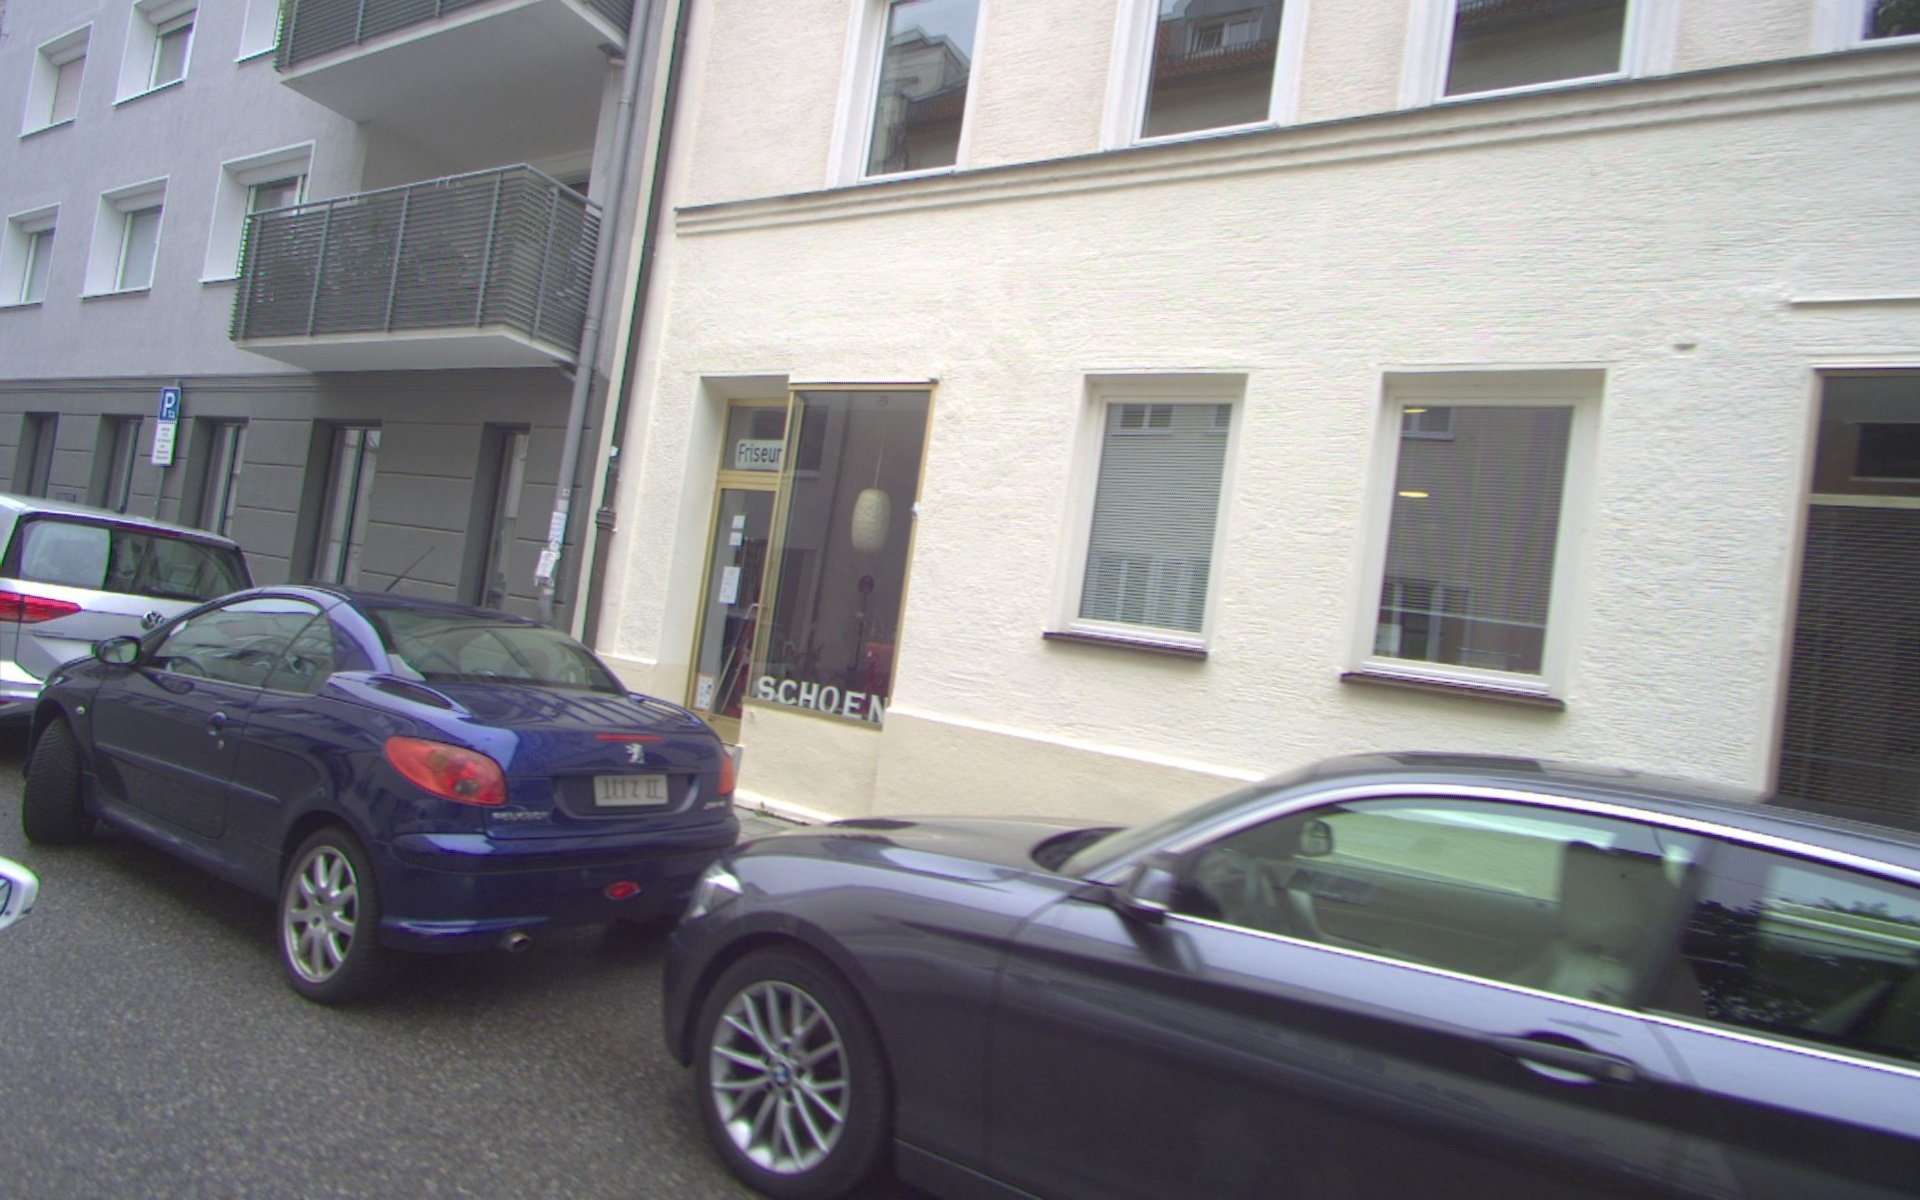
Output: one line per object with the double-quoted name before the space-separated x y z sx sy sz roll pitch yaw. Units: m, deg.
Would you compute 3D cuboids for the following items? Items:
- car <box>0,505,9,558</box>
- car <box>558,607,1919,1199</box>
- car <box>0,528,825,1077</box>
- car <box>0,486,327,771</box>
"car" -11.110 -0.420 9.467 4.219 1.545 1.845 7 -3 30
"car" 1.175 1.020 2.688 4.275 1.401 1.804 7 -2 30
"car" -2.788 0.603 4.710 3.879 1.379 1.812 7 -2 31
"car" -6.840 0.021 7.292 4.242 1.589 1.880 7 -1 29
